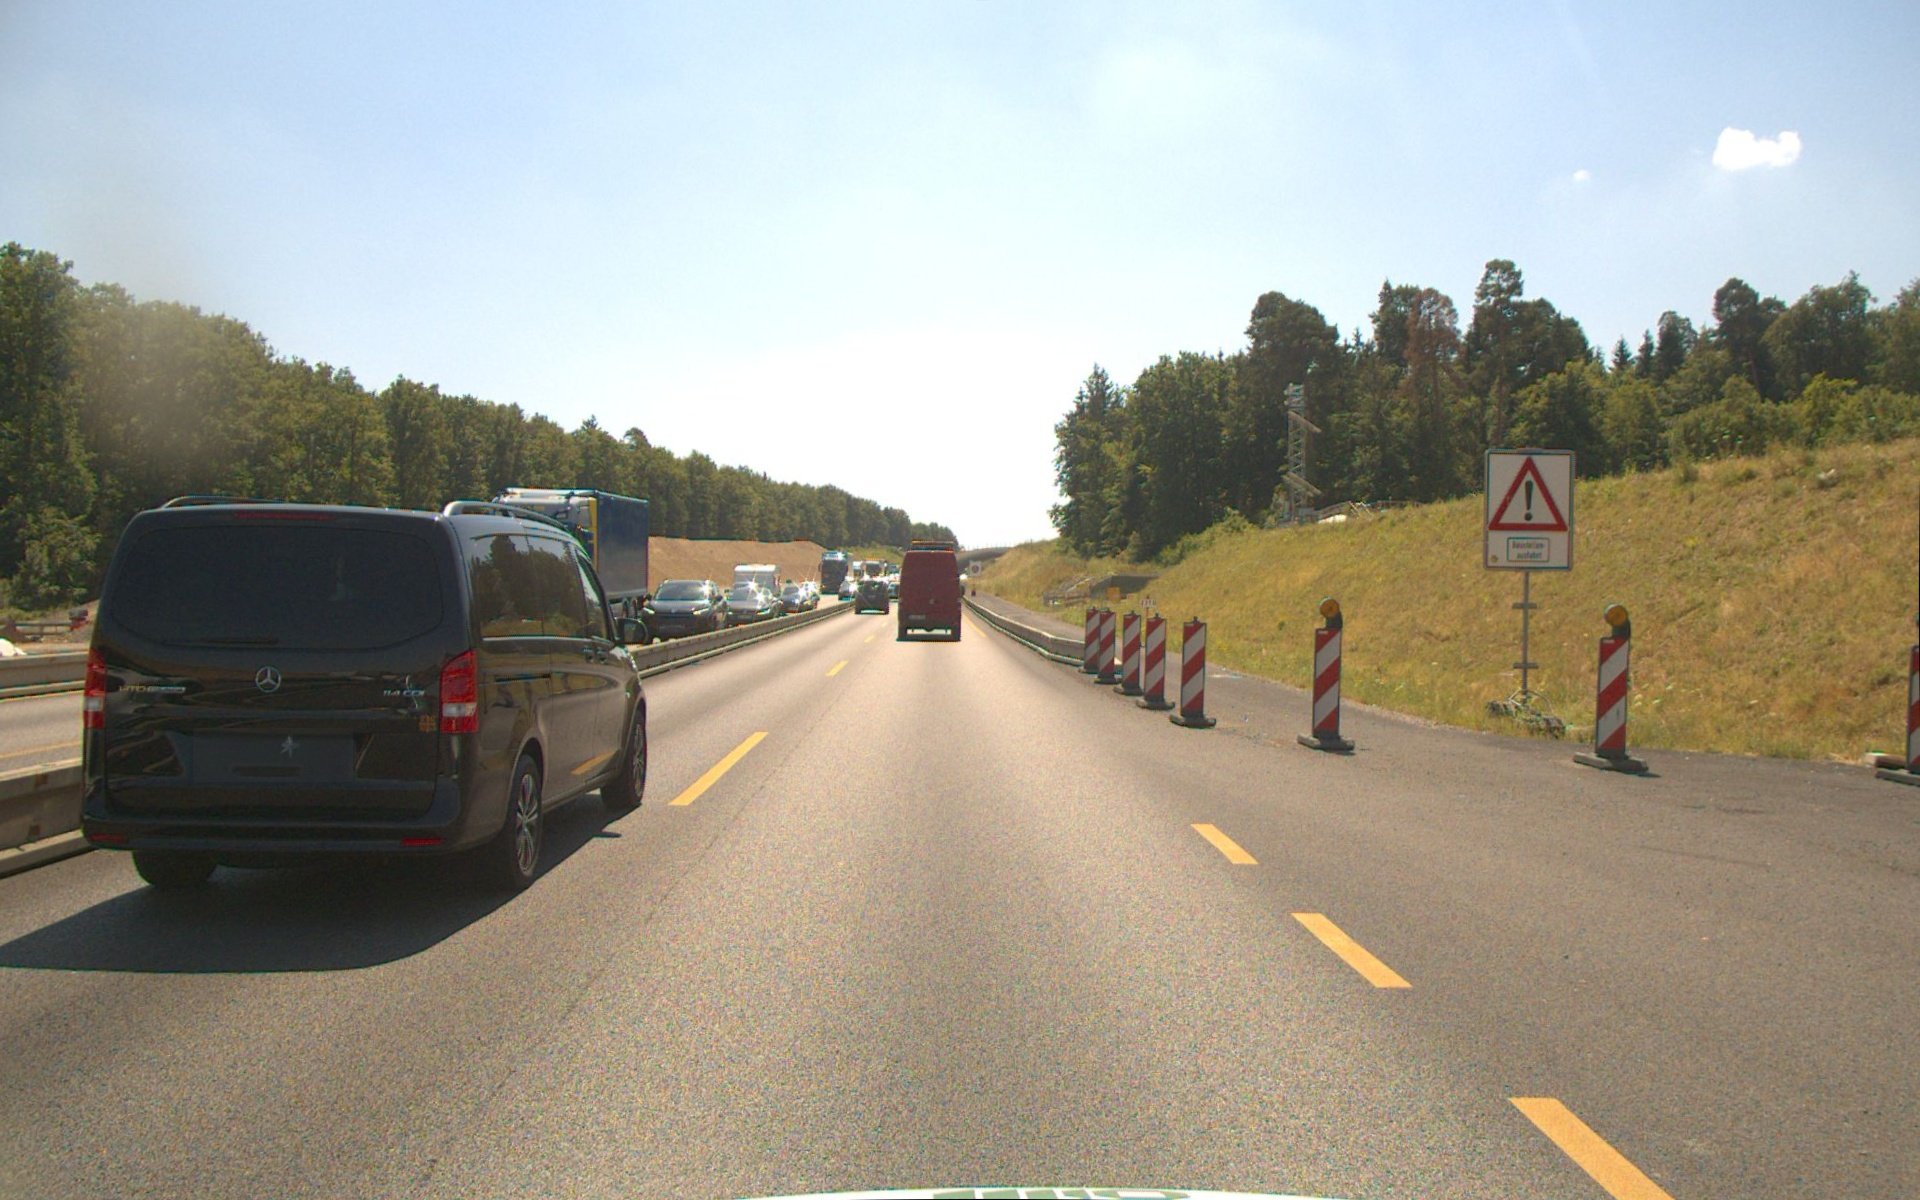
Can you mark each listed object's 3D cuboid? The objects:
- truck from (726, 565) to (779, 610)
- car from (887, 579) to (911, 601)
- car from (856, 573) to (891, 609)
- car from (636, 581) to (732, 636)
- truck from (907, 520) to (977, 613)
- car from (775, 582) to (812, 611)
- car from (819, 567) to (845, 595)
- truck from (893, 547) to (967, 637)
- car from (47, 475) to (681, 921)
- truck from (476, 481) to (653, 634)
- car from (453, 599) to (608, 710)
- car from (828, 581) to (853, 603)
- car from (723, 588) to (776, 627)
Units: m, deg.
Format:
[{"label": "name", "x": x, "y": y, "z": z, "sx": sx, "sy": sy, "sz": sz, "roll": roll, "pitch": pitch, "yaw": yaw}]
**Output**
[{"label": "truck", "x": -11.941, "y": -0.676, "z": 95.424, "sx": 2.351, "sy": 2.399, "sz": 5.226, "roll": 1, "pitch": -1, "yaw": 0}, {"label": "car", "x": -4.754, "y": -0.776, "z": 129.440, "sx": 1.794, "sy": 1.549, "sz": 3.960, "roll": 1, "pitch": -1, "yaw": -1}, {"label": "car", "x": -4.646, "y": -0.476, "z": 89.441, "sx": 1.716, "sy": 1.856, "sz": 4.781, "roll": 1, "pitch": 0, "yaw": -1}, {"label": "car", "x": -7.134, "y": 0.242, "z": 43.081, "sx": 1.803, "sy": 1.351, "sz": 3.942, "roll": 1, "pitch": -1, "yaw": 0}, {"label": "truck", "x": -1.248, "y": -2.035, "z": 111.866, "sx": 4.311, "sy": 5.592, "sz": 16.598, "roll": 1, "pitch": -1, "yaw": -1}, {"label": "car", "x": -8.148, "y": -0.153, "z": 81.071, "sx": 1.434, "sy": 1.351, "sz": 3.371, "roll": 1, "pitch": -1, "yaw": 0}, {"label": "car", "x": -12.653, "y": -1.840, "z": 163.840, "sx": 2.337, "sy": 2.625, "sz": 3.998, "roll": 1, "pitch": -1, "yaw": -2}, {"label": "truck", "x": -1.003, "y": -0.195, "z": 51.774, "sx": 2.110, "sy": 2.635, "sz": 5.329, "roll": 1, "pitch": -1, "yaw": -3}, {"label": "car", "x": -3.024, "y": 0.438, "z": 9.863, "sx": 1.836, "sy": 1.883, "sz": 5.477, "roll": 1, "pitch": 0, "yaw": -1}, {"label": "truck", "x": -10.552, "y": -0.957, "z": 45.204, "sx": 2.457, "sy": 3.680, "sz": 9.639, "roll": 1, "pitch": -1, "yaw": 0}, {"label": "car", "x": -6.768, "y": 0.844, "z": 26.340, "sx": 1.649, "sy": 1.624, "sz": 3.223, "roll": 1, "pitch": -1, "yaw": -1}, {"label": "car", "x": -9.696, "y": -0.635, "z": 134.220, "sx": 1.740, "sy": 1.699, "sz": 3.839, "roll": 1, "pitch": -1, "yaw": 0}, {"label": "car", "x": -7.599, "y": 0.278, "z": 59.978, "sx": 1.434, "sy": 1.351, "sz": 3.371, "roll": 1, "pitch": -1, "yaw": 0}]
